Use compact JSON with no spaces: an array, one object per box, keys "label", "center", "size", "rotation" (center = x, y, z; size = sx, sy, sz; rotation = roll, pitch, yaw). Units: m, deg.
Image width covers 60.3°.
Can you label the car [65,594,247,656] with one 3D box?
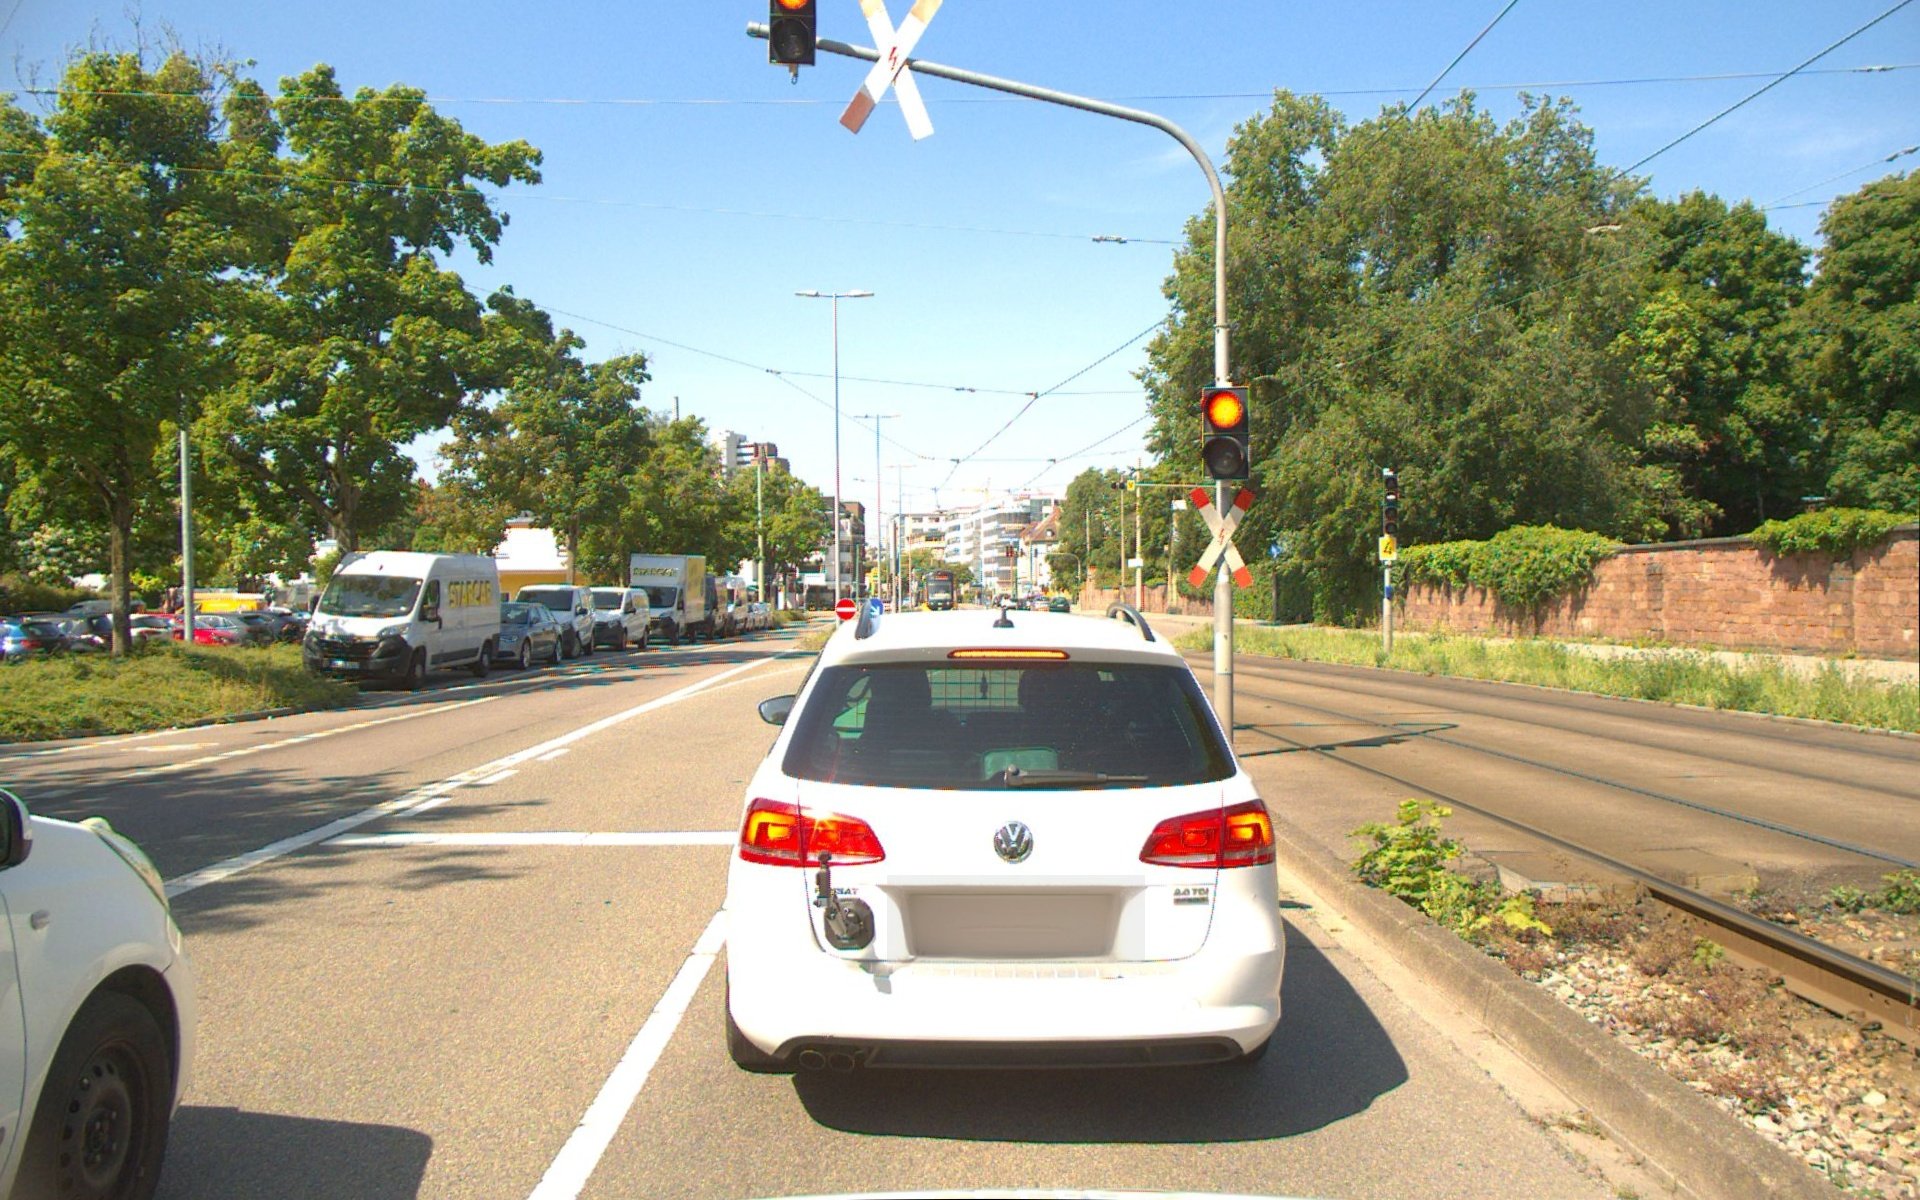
[{"label":"car","center":[-21.236,0.643,43.806],"size":[3.910,1.440,1.728],"rotation":[-3,0,-5]}]

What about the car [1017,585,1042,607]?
[{"label":"car","center":[6.276,-0.348,149.733],"size":[1.826,1.900,5.060],"rotation":[1,1,-2]}]

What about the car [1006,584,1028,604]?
[{"label":"car","center":[5.691,-0.591,165.002],"size":[1.826,1.900,5.060],"rotation":[1,1,-2]}]

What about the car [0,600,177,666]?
[{"label":"car","center":[-21.918,0.812,41.255],"size":[3.910,1.440,1.728],"rotation":[-3,0,-5]}]

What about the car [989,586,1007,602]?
[{"label":"car","center":[4.699,-0.767,205.557],"size":[1.826,1.900,5.060],"rotation":[1,1,-2]}]

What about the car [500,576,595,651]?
[{"label":"car","center":[-11.207,0.305,45.220],"size":[1.828,1.900,5.067],"rotation":[1,1,-6]}]

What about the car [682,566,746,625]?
[{"label":"car","center":[-11.189,-0.244,75.650],"size":[2.080,2.560,5.733],"rotation":[1,1,-1]}]

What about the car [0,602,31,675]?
[{"label":"car","center":[-20.997,0.845,32.931],"size":[3.910,1.440,1.728],"rotation":[-3,0,-5]}]

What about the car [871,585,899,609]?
[{"label":"car","center":[-5.055,-0.230,112.262],"size":[1.670,1.499,4.589],"rotation":[-1,1,0]}]

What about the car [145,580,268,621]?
[{"label":"car","center":[-34.739,0.016,76.332],"size":[4.699,1.819,2.062],"rotation":[1,0,-6]}]

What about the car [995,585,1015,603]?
[{"label":"car","center":[4.917,-0.691,181.743],"size":[1.826,1.900,5.060],"rotation":[1,1,-2]}]

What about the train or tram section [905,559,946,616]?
[{"label":"train or tram section","center":[-2.559,-0.967,123.148],"size":[2.812,3.922,12.389],"rotation":[-1,1,-1]}]

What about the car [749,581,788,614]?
[{"label":"car","center":[-11.378,-0.182,98.489],"size":[1.826,1.900,5.412],"rotation":[1,1,-2]}]

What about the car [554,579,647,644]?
[{"label":"car","center":[-11.167,0.305,51.796],"size":[1.826,1.900,5.412],"rotation":[1,1,-2]}]

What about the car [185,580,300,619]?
[{"label":"car","center":[-35.189,-0.013,81.235],"size":[4.699,1.819,2.062],"rotation":[1,0,-6]}]

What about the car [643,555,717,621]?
[{"label":"car","center":[-11.493,-0.523,68.206],"size":[2.080,2.560,5.733],"rotation":[1,1,-1]}]

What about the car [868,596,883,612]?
[{"label":"car","center":[-10.769,0.454,210.066],"size":[1.726,1.929,4.913],"rotation":[1,0,-1]}]

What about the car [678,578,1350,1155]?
[{"label":"car","center":[0.107,0.667,6.318],"size":[1.727,1.455,3.999],"rotation":[-1,1,-1]}]

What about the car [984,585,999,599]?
[{"label":"car","center":[4.453,-1.206,235.229],"size":[1.826,1.900,5.060],"rotation":[1,1,-2]}]

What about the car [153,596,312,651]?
[{"label":"car","center":[-21.480,0.678,48.947],"size":[3.910,1.440,1.728],"rotation":[-3,0,-5]}]

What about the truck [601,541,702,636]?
[{"label":"truck","center":[-11.125,-0.431,60.213],"size":[2.371,3.205,6.996],"rotation":[1,1,-1]}]

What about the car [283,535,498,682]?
[{"label":"car","center":[-10.894,0.119,32.194],"size":[2.079,2.560,5.817],"rotation":[1,1,0]}]

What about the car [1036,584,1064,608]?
[{"label":"car","center":[7.224,-0.334,133.456],"size":[1.826,1.900,5.060],"rotation":[1,1,-2]}]

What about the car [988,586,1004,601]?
[{"label":"car","center":[4.782,-0.835,220.606],"size":[1.826,1.900,5.060],"rotation":[1,1,-2]}]

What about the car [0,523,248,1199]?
[{"label":"car","center":[-2.620,0.655,2.003],"size":[1.628,1.574,4.545],"rotation":[0,1,-1]}]

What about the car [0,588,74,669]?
[{"label":"car","center":[-21.312,0.663,35.194],"size":[3.910,1.638,1.728],"rotation":[-3,0,-5]}]

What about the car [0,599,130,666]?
[{"label":"car","center":[-21.816,0.784,38.645],"size":[3.910,1.440,1.728],"rotation":[-3,0,-5]}]

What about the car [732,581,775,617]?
[{"label":"car","center":[-11.389,-0.101,91.572],"size":[1.826,1.900,5.412],"rotation":[1,1,-2]}]

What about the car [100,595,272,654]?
[{"label":"car","center":[-21.532,0.660,46.123],"size":[3.910,1.440,1.728],"rotation":[-3,0,-5]}]

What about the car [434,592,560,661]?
[{"label":"car","center":[-10.729,0.578,38.619],"size":[1.826,1.440,4.278],"rotation":[1,1,-2]}]

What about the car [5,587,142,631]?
[{"label":"car","center":[-38.202,0.376,71.364],"size":[4.699,1.819,2.062],"rotation":[1,0,-6]}]

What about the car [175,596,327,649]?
[{"label":"car","center":[-21.920,0.684,51.235],"size":[3.910,1.440,1.728],"rotation":[-3,0,-5]}]

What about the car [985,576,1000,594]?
[{"label":"car","center":[5.024,-2.337,258.611],"size":[2.015,2.807,5.630],"rotation":[1,1,-2]}]
